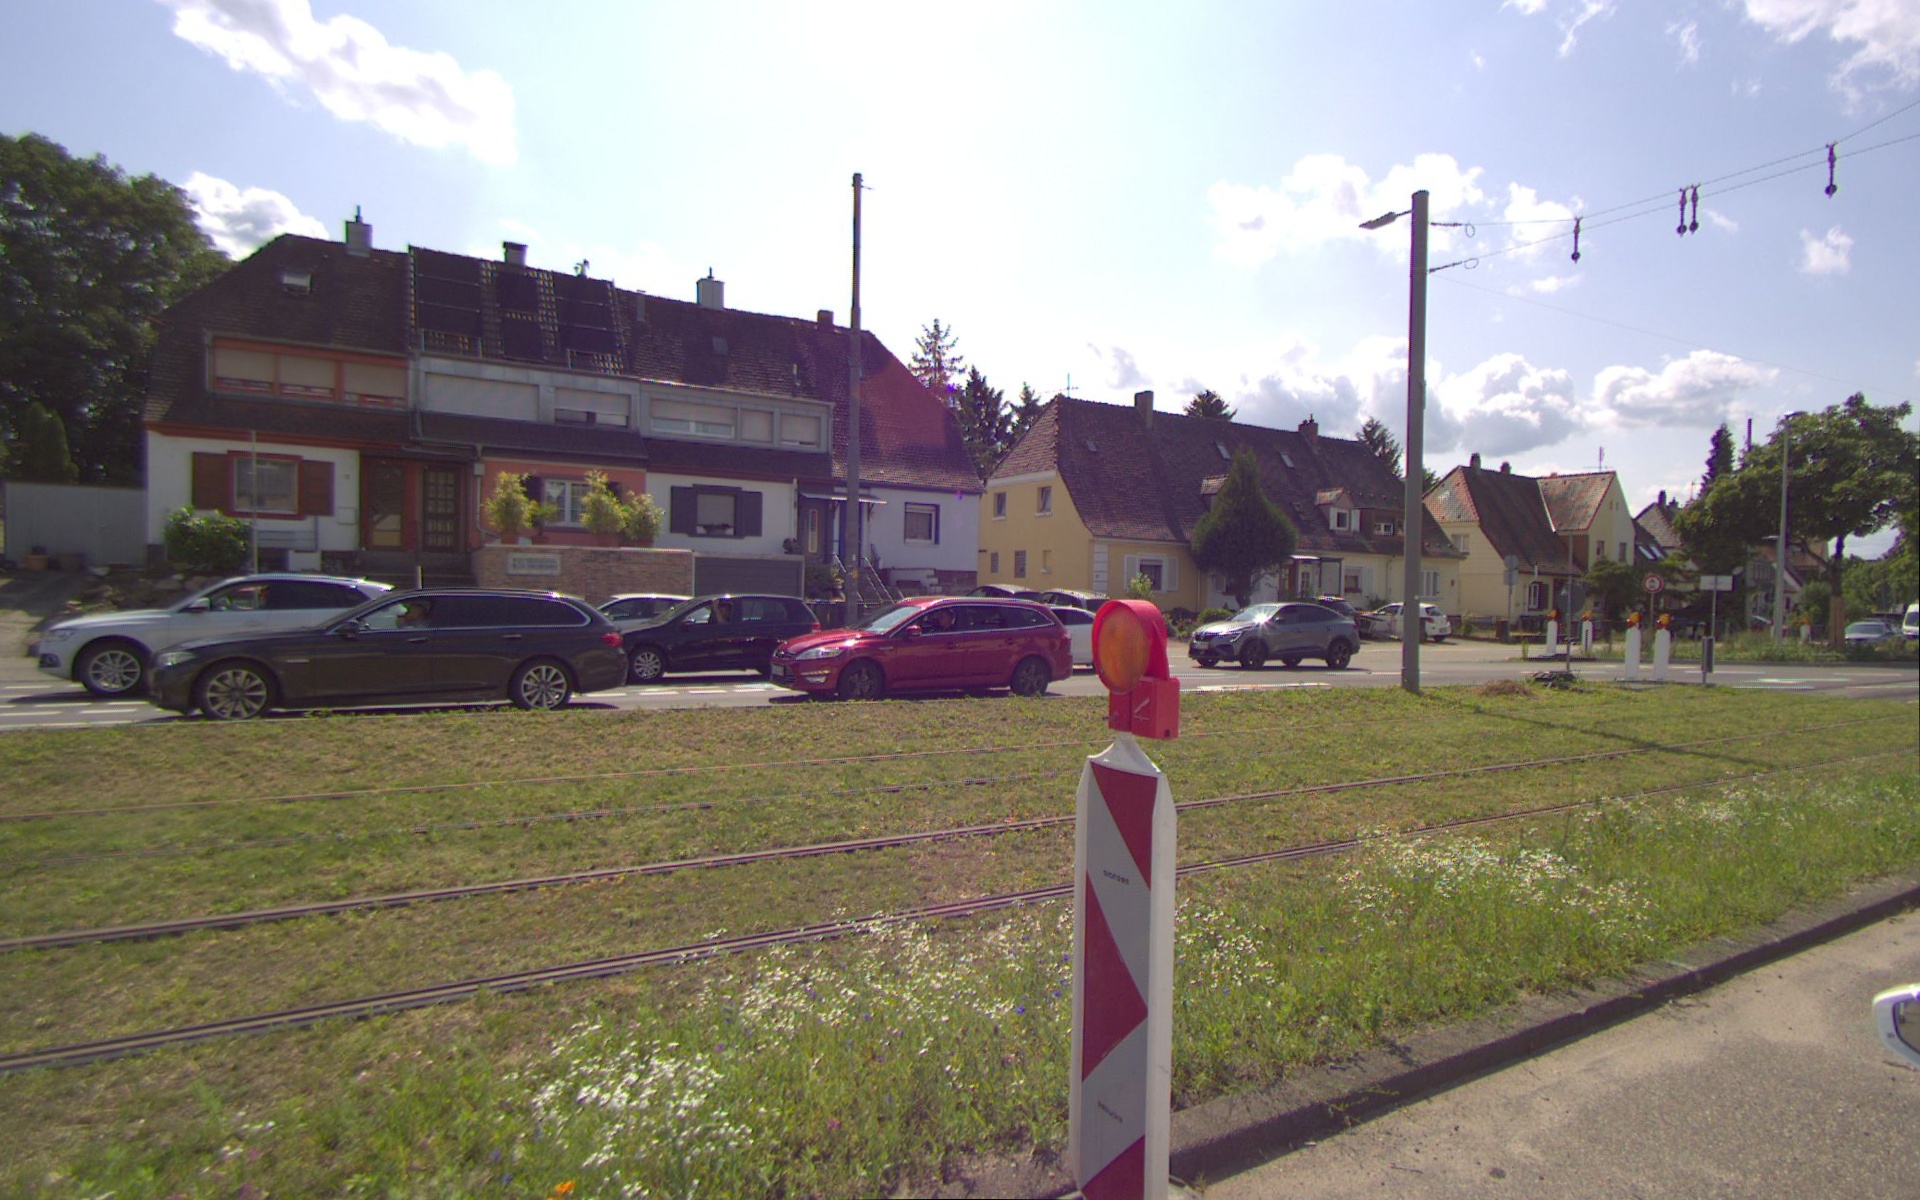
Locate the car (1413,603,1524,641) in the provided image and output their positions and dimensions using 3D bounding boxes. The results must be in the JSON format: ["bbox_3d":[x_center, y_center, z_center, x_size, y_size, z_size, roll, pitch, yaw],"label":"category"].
[{"bbox_3d":[21.881,0.922,43.349,1.685,1.417,3.967,0,2,-30],"label":"car"}]

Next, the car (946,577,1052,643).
[{"bbox_3d":[1.154,0.276,31.029,1.587,1.616,3.365,1,6,-32],"label":"car"}]

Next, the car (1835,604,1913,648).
[{"bbox_3d":[40.524,1.116,44.513,4.089,1.800,2.076,1,0,-41],"label":"car"}]

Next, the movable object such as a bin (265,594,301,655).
[{"bbox_3d":[-13.691,0.487,20.312,0.569,1.212,0.442,1,0,-36],"label":"movable object such as a bin"}]

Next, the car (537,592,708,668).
[{"bbox_3d":[-6.845,0.588,20.404,3.051,1.438,1.558,1,0,-31],"label":"car"}]

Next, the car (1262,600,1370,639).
[{"bbox_3d":[13.908,0.748,39.405,1.918,1.423,3.601,1,0,-31],"label":"car"}]

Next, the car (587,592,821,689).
[{"bbox_3d":[-4.477,0.664,17.607,3.613,1.514,1.834,1,0,-31],"label":"car"}]

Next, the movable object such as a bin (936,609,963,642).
[{"bbox_3d":[-0.301,0.737,29.078,0.511,0.946,0.677,1,0,-32],"label":"movable object such as a bin"}]

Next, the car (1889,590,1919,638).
[{"bbox_3d":[49.660,0.723,51.585,4.841,2.369,2.385,1,0,-41],"label":"car"}]

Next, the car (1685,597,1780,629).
[{"bbox_3d":[46.216,0.765,60.154,2.079,1.800,4.082,1,0,-34],"label":"car"}]

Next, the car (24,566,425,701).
[{"bbox_3d":[-10.368,0.448,14.623,4.456,1.691,1.833,1,0,-32],"label":"car"}]

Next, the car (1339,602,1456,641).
[{"bbox_3d":[18.027,0.855,41.560,1.968,1.486,4.087,1,0,-30],"label":"car"}]

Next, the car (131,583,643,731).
[{"bbox_3d":[-6.417,0.579,11.785,4.862,1.432,1.833,1,0,-32],"label":"car"}]

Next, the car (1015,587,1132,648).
[{"bbox_3d":[3.602,0.525,32.539,1.587,1.512,3.930,1,6,-32],"label":"car"}]

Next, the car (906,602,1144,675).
[{"bbox_3d":[1.394,0.766,20.903,4.720,1.361,1.835,1,0,-29],"label":"car"}]

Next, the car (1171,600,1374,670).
[{"bbox_3d":[7.575,0.824,24.280,4.675,1.555,1.837,1,0,-26],"label":"car"}]

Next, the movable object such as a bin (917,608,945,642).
[{"bbox_3d":[-0.838,0.716,28.761,0.511,0.946,0.677,1,0,-32],"label":"movable object such as a bin"}]

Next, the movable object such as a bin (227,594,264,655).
[{"bbox_3d":[-14.188,0.479,19.949,0.569,1.200,0.442,1,0,-36],"label":"movable object such as a bin"}]

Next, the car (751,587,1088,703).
[{"bbox_3d":[-0.541,0.625,15.164,4.800,1.514,1.834,1,0,-31],"label":"car"}]
